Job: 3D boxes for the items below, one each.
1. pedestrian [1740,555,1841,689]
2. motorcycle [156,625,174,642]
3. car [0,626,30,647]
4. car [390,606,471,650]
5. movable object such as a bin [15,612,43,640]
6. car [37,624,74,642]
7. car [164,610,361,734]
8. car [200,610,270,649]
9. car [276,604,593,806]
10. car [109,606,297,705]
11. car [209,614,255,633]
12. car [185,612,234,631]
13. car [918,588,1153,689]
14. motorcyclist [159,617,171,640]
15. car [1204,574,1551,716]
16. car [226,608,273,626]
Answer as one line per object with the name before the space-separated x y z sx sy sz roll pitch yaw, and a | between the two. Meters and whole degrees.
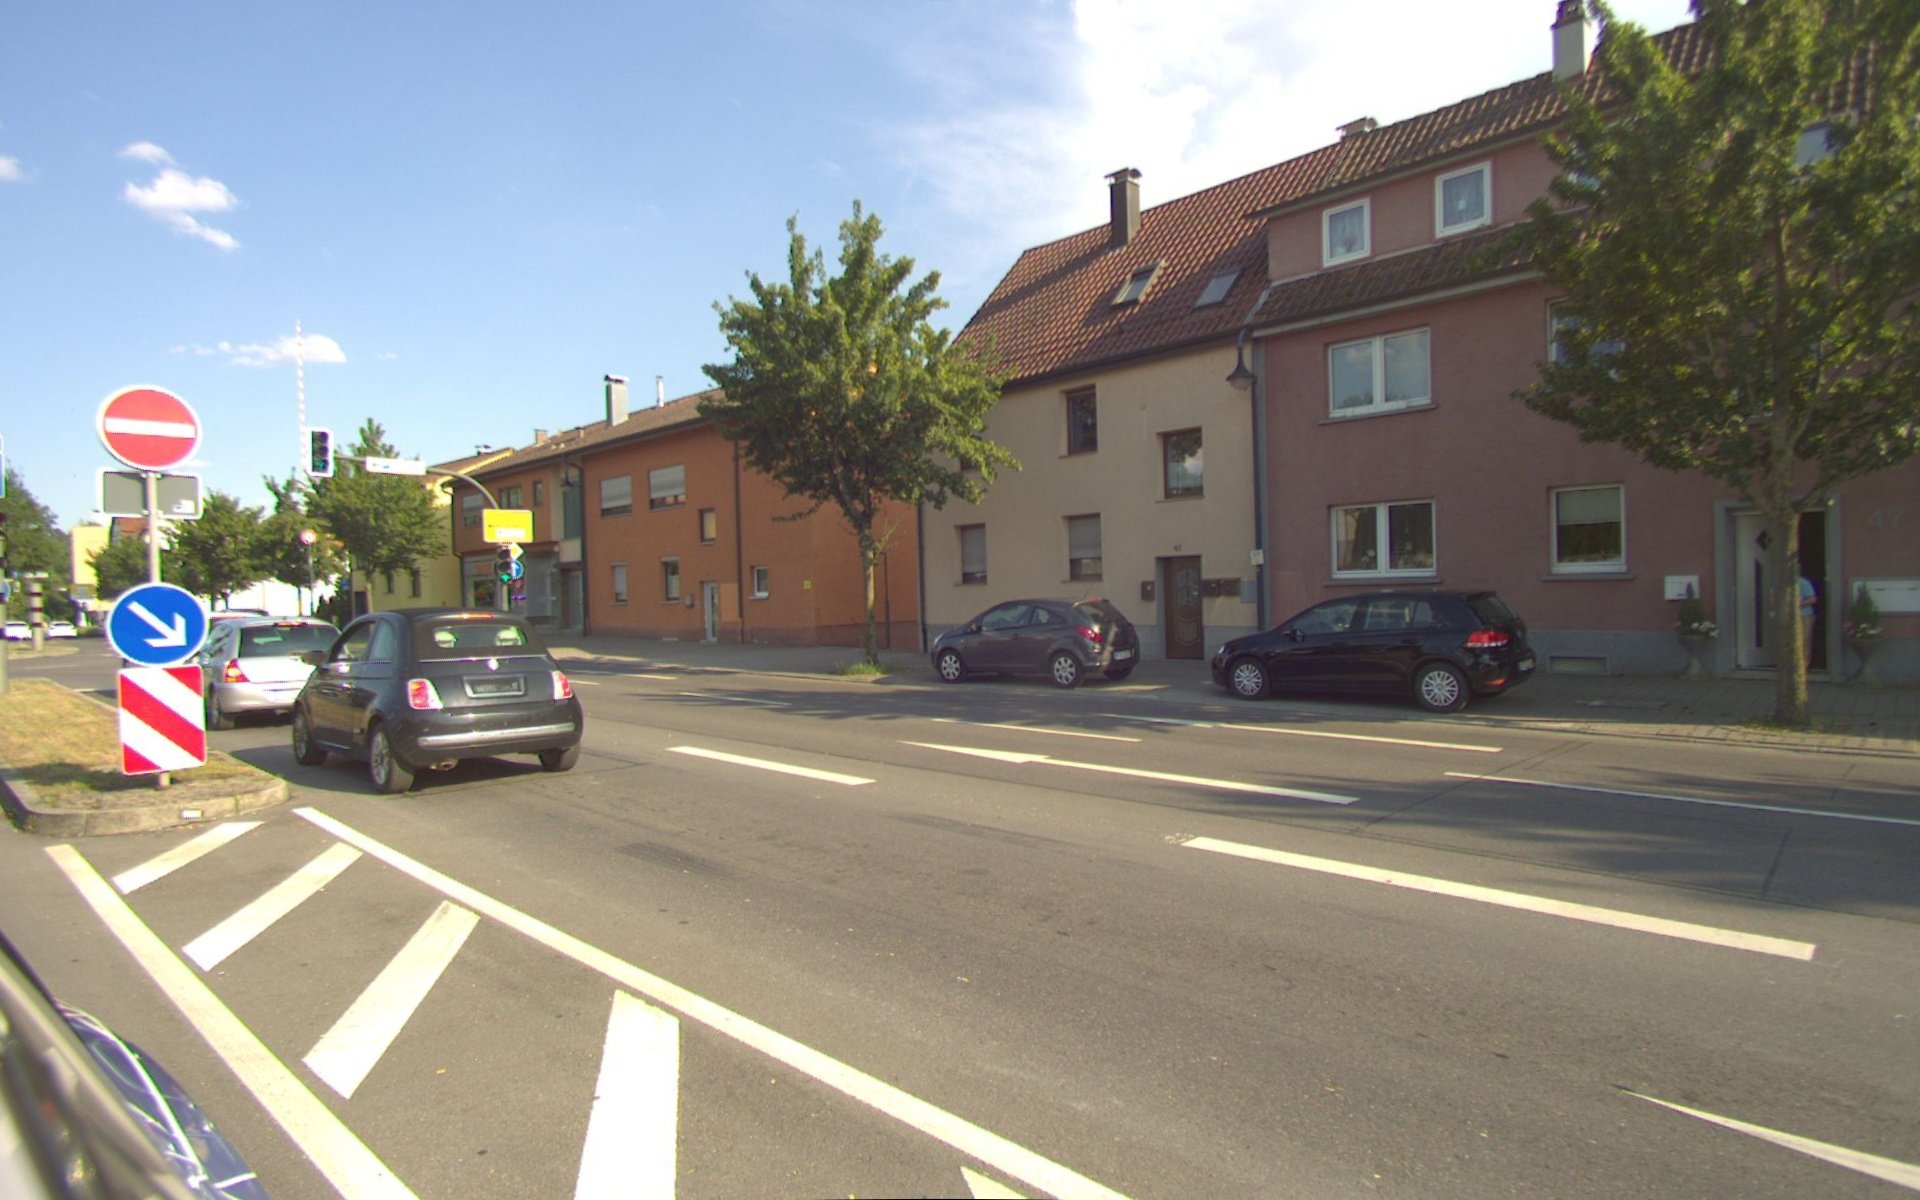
pedestrian | 10.498 0.269 12.798 0.710 1.619 0.780 -1 -1 -32
motorcycle | -42.870 1.807 54.559 1.762 0.867 0.408 -2 -1 41
car | -69.619 2.672 74.158 3.999 1.422 1.739 -2 -1 42
car | -19.850 1.041 37.859 1.574 1.449 3.777 -7 4 -44
movable object such as a bin | -84.277 2.381 91.624 4.978 2.480 1.535 -1 -1 44
car | -72.584 2.646 81.212 3.999 1.422 1.739 -2 -1 42
car | -9.572 0.879 13.796 3.580 1.438 1.571 -1 0 45
car | -32.517 1.311 45.335 4.412 1.624 1.668 -1 0 42
car | -4.920 0.820 9.270 3.507 1.473 1.515 -2 -1 44
car | -13.488 0.912 17.923 4.565 1.500 1.815 -2 -1 42
car | -64.818 2.078 90.153 1.566 1.576 3.428 -1 0 3
car | -67.113 1.928 90.540 1.836 1.638 3.409 0 -2 0
car | 1.221 0.633 17.481 3.884 1.522 1.496 -2 1 42
motorcyclist | -42.852 1.546 54.548 0.461 1.238 0.399 -2 -1 40
car | 5.408 0.529 13.448 1.647 1.543 3.905 -5 2 -44
car | -62.078 1.472 88.420 1.600 1.555 3.428 -1 -1 3
